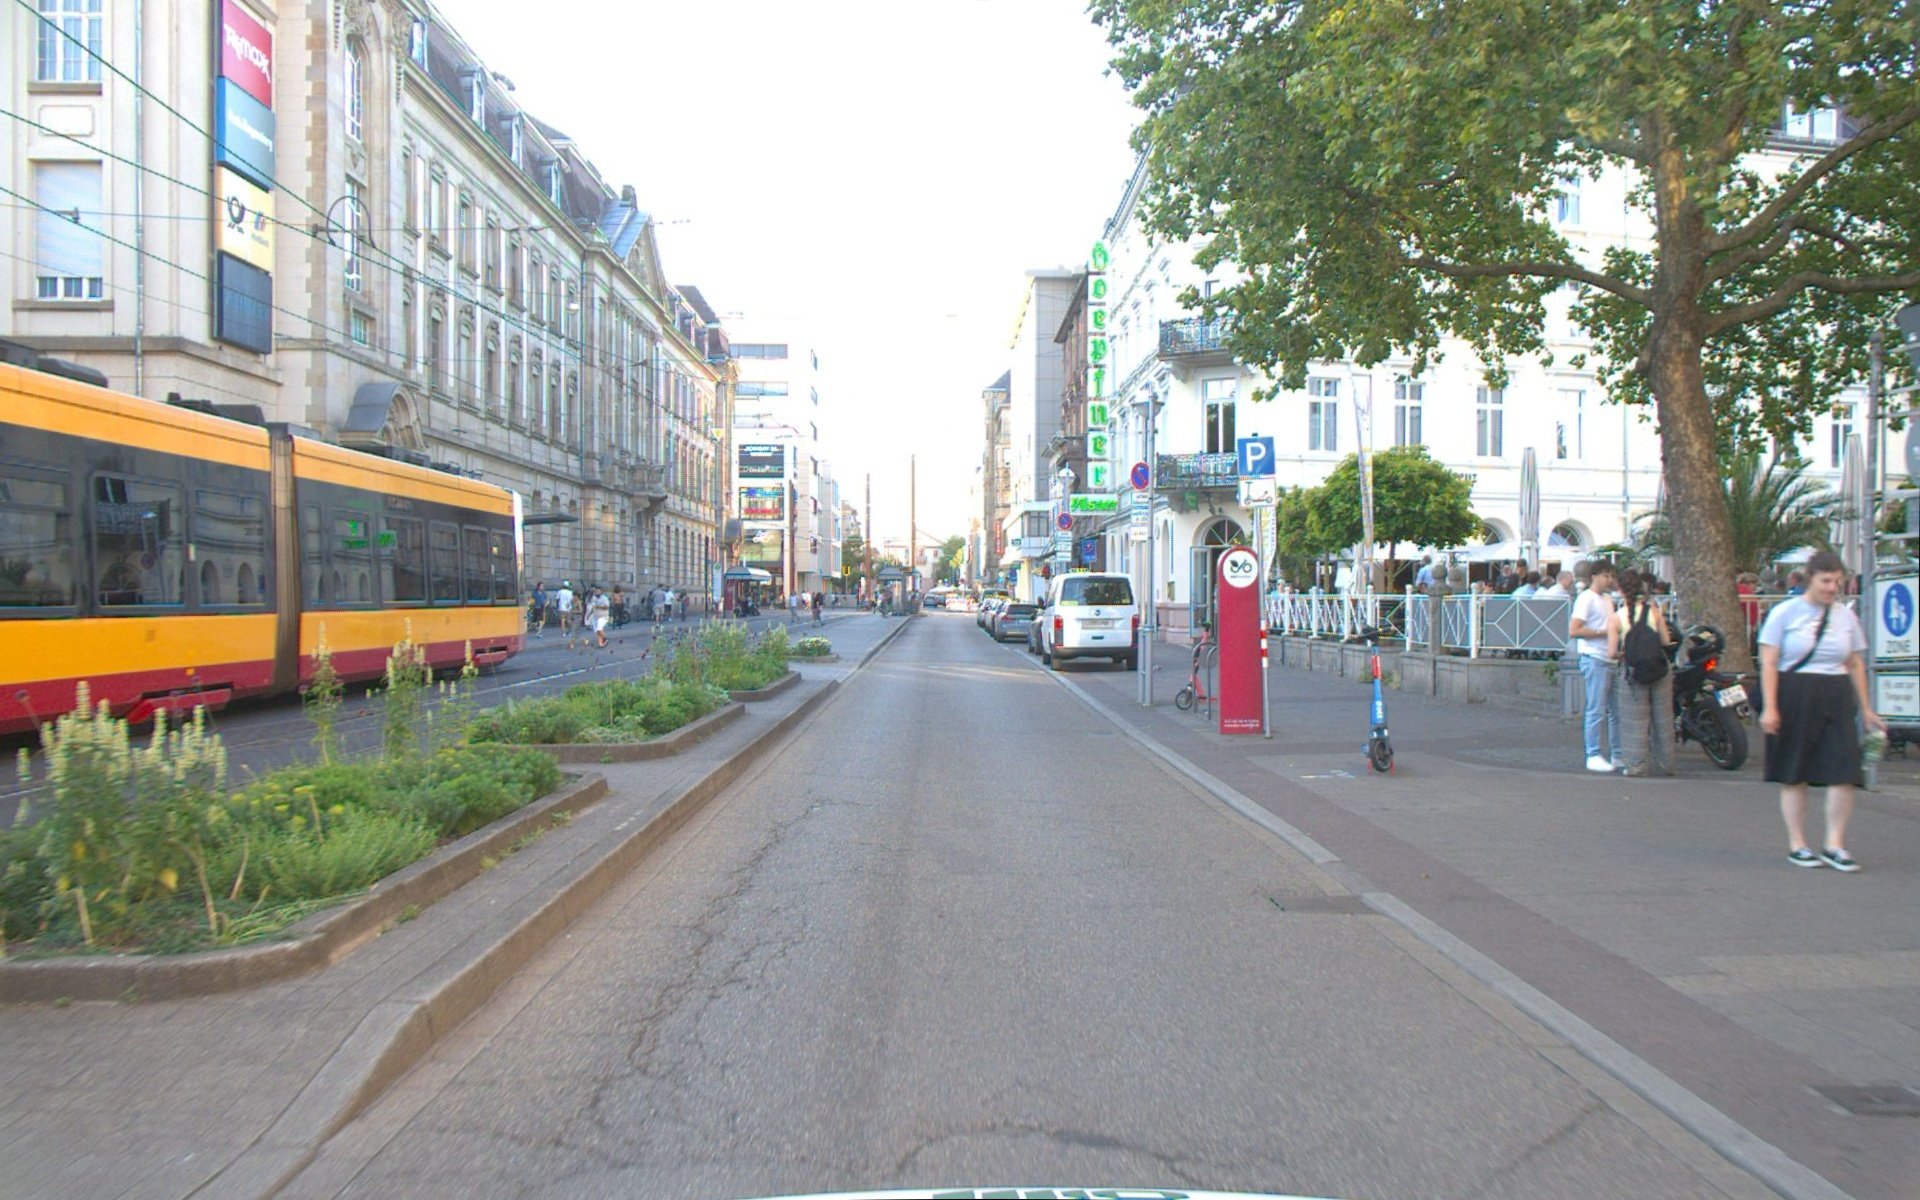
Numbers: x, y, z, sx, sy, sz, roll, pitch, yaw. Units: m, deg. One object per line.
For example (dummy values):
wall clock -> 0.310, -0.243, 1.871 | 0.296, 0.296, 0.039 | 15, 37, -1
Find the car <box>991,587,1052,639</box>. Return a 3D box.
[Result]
car -> 2.190, 0.473, 60.101 | 1.953, 1.791, 4.420 | 0, 0, -1

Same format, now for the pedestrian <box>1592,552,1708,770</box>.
pedestrian -> 5.671, 0.495, 13.630 | 0.664, 1.747, 0.654 | 0, -2, 1

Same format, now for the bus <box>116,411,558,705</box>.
bus -> -9.251, -0.473, 26.667 | 2.765, 3.676, 11.820 | 0, -1, -1

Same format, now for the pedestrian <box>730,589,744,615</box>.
pedestrian -> -13.425, 0.116, 99.687 | 0.764, 1.608, 0.677 | 0, 0, -12

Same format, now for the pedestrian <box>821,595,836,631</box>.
pedestrian -> -6.052, 0.581, 76.230 | 0.659, 1.665, 0.761 | 0, 0, -8

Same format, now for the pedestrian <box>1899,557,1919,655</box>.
pedestrian -> 12.999, 0.089, 22.289 | 0.464, 1.307, 0.540 | -1, -2, 15

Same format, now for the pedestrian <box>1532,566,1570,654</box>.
pedestrian -> 8.936, 0.153, 25.012 | 0.463, 1.307, 0.540 | -1, -2, 13

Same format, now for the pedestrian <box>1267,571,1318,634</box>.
pedestrian -> 7.251, 0.068, 36.098 | 0.884, 1.337, 0.966 | 0, -2, -2

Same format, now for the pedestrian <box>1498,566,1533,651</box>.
pedestrian -> 8.825, 0.141, 26.277 | 0.463, 1.328, 0.540 | -1, -2, 13

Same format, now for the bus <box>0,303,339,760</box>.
bus -> -9.162, -0.543, 16.647 | 2.765, 3.688, 8.288 | 0, 0, -1

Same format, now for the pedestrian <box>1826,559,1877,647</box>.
pedestrian -> 13.388, 0.049, 24.849 | 0.527, 1.307, 0.475 | -1, -2, 9

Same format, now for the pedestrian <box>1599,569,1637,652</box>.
pedestrian -> 10.174, 0.167, 25.580 | 0.463, 1.263, 0.540 | -1, -2, 13

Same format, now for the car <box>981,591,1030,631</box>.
car -> 1.973, 0.518, 73.044 | 1.953, 1.696, 4.419 | 0, -2, -1

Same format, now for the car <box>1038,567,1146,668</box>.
car -> 2.753, 0.361, 35.420 | 1.876, 2.016, 4.420 | 0, 0, -1

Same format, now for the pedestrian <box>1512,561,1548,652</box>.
pedestrian -> 8.837, 0.102, 25.657 | 0.463, 1.388, 0.540 | -1, -2, 13

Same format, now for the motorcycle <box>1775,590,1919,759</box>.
motorcycle -> 8.569, 0.666, 14.938 | 0.557, 1.448, 2.277 | 1, 1, -26

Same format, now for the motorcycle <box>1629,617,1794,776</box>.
motorcycle -> 6.326, 0.770, 14.039 | 0.446, 1.178, 2.031 | 0, 1, -1

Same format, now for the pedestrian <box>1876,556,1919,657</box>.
pedestrian -> 12.343, 0.089, 21.654 | 0.464, 1.307, 0.540 | -1, -2, 15

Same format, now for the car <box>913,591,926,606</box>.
car -> -5.301, -0.240, 217.333 | 1.725, 1.859, 3.569 | 0, -2, -1

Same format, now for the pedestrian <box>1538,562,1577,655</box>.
pedestrian -> 8.826, 0.131, 24.429 | 0.463, 1.353, 0.540 | -1, -2, 13

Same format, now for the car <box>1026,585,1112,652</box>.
car -> 2.897, 0.496, 44.743 | 1.953, 1.696, 4.420 | 0, -1, -1

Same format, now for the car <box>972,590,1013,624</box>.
car -> 1.658, 0.390, 86.194 | 1.953, 1.696, 4.419 | 0, -2, -1

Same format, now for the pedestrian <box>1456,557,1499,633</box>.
pedestrian -> 11.614, -0.104, 37.146 | 0.742, 1.672, 0.659 | 0, -2, -1

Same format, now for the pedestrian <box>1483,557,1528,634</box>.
pedestrian -> 11.895, -0.088, 36.088 | 0.742, 1.672, 0.659 | 0, -2, -1

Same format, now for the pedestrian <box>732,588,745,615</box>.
pedestrian -> -13.239, 0.105, 98.832 | 0.760, 1.608, 0.677 | 0, 0, -12

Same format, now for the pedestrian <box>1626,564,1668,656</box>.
pedestrian -> 9.901, 0.154, 23.853 | 0.463, 1.307, 0.540 | -1, -2, 13

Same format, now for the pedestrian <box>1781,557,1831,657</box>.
pedestrian -> 11.265, 0.095, 22.023 | 0.464, 1.307, 0.540 | -1, -2, 15

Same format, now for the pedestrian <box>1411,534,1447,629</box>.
pedestrian -> 11.639, -0.452, 41.057 | 0.604, 2.345, 0.577 | 0, -2, -22

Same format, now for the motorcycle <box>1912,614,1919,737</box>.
motorcycle -> 9.711, 0.747, 15.071 | 0.544, 1.171, 1.782 | 1, 2, -27

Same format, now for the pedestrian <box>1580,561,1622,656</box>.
pedestrian -> 8.984, 0.126, 23.196 | 0.463, 1.307, 0.540 | -1, -2, 13

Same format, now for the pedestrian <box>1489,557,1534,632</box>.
pedestrian -> 12.435, -0.114, 37.294 | 0.742, 1.672, 0.659 | 0, -2, -3

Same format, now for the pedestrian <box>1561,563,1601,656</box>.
pedestrian -> 8.939, 0.142, 23.820 | 0.463, 1.307, 0.540 | -1, -2, 13

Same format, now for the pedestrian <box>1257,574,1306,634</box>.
pedestrian -> 7.211, 0.093, 37.182 | 0.884, 1.329, 0.966 | 0, -2, -2

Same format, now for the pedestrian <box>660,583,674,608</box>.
pedestrian -> -16.902, -0.248, 95.440 | 0.616, 1.454, 0.711 | 0, 0, 5

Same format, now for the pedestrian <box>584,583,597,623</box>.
pedestrian -> -15.740, 0.123, 70.490 | 0.508, 1.702, 0.480 | 0, 0, -16

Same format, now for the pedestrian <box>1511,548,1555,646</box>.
pedestrian -> 9.467, -0.040, 27.357 | 0.605, 1.599, 0.631 | -1, -2, 13

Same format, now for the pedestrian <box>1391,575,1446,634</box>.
pedestrian -> 10.185, 0.105, 36.780 | 0.944, 1.289, 0.905 | 0, -2, -1
